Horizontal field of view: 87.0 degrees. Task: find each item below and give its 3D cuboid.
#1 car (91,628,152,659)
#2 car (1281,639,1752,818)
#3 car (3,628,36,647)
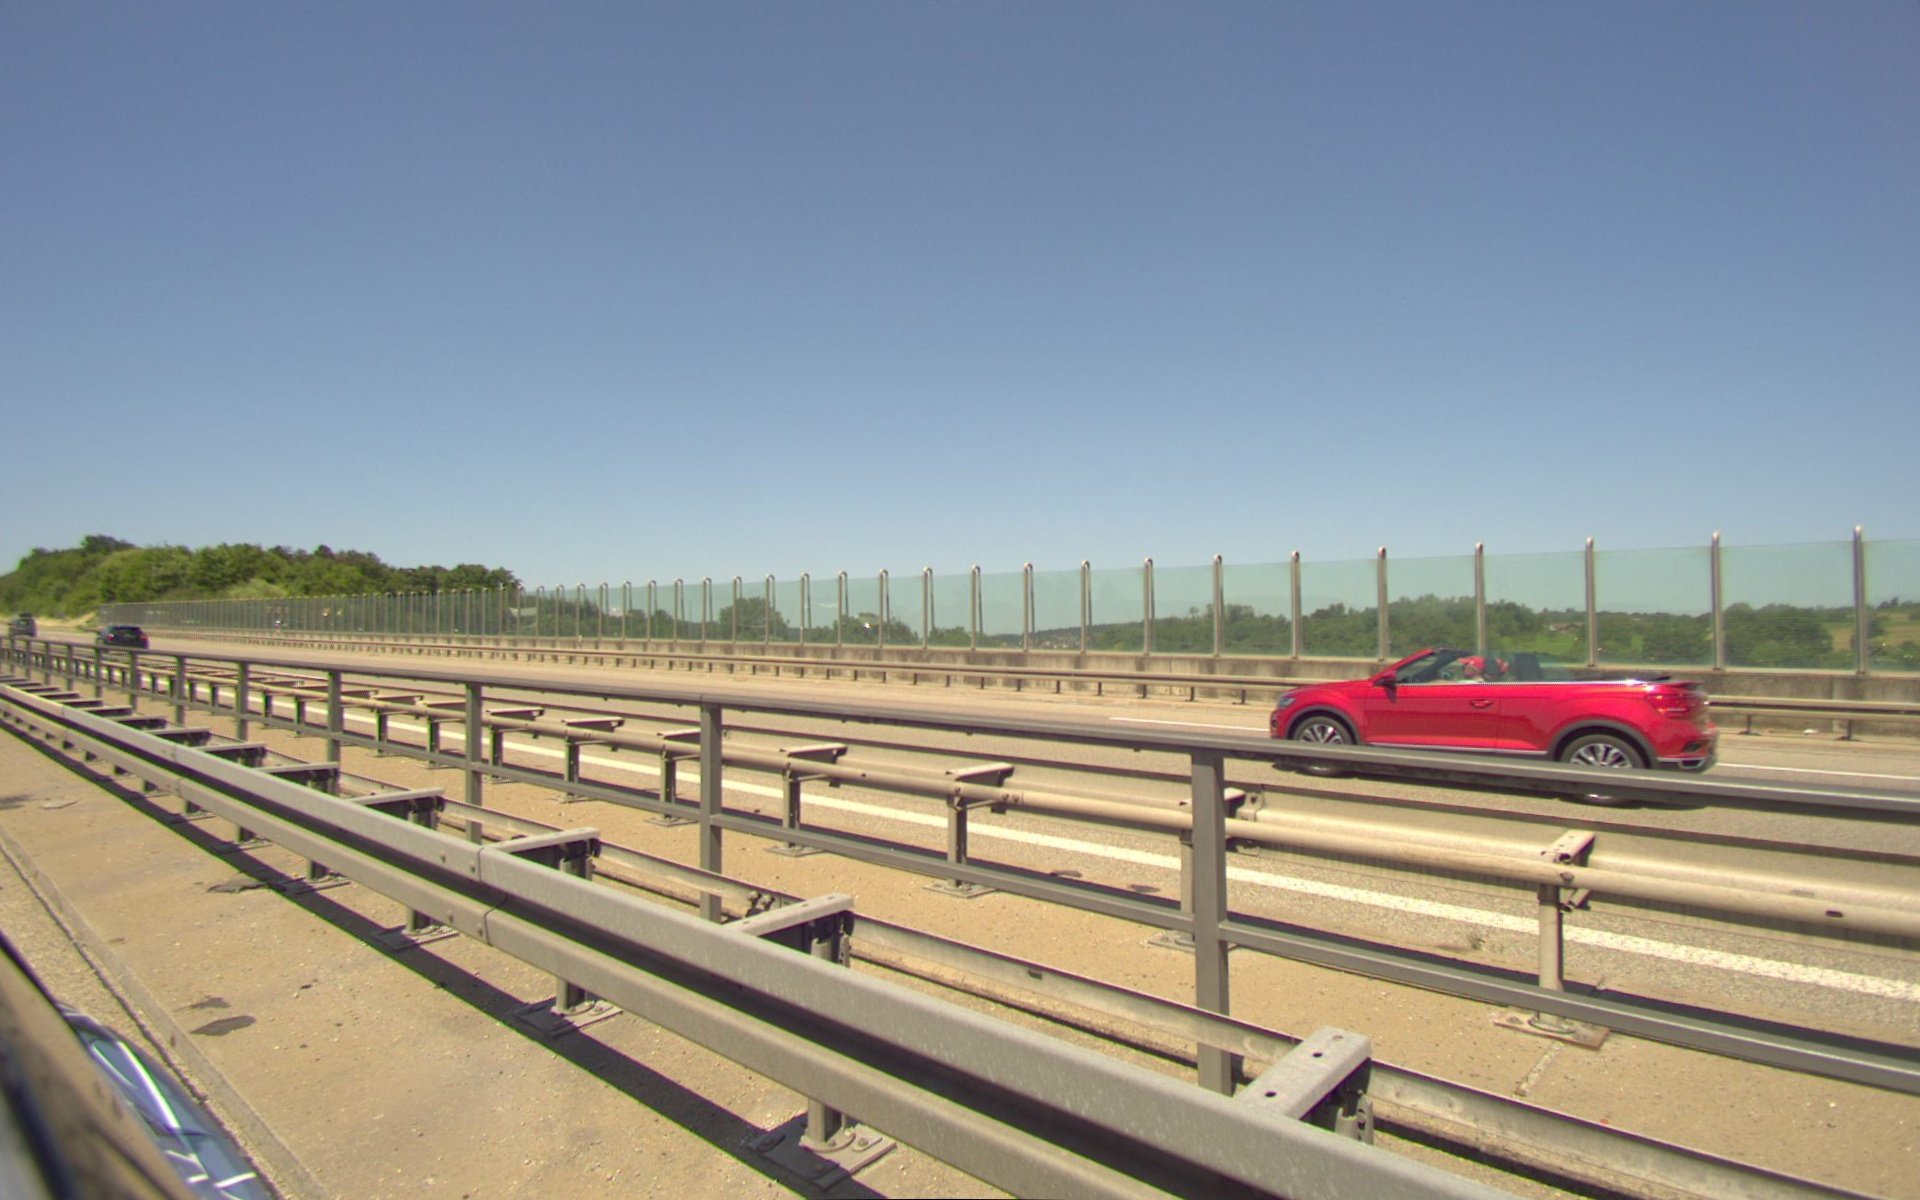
[{"bbox_3d":[-41.490,2.135,50.026,3.999,1.431,1.681,-1,-4,42],"label":"car"},{"bbox_3d":[5.613,1.178,10.490,3.999,1.431,1.763,-1,-4,42],"label":"car"},{"bbox_3d":[-87.361,3.515,93.985,3.999,1.650,1.808,-1,-4,42],"label":"car"}]
